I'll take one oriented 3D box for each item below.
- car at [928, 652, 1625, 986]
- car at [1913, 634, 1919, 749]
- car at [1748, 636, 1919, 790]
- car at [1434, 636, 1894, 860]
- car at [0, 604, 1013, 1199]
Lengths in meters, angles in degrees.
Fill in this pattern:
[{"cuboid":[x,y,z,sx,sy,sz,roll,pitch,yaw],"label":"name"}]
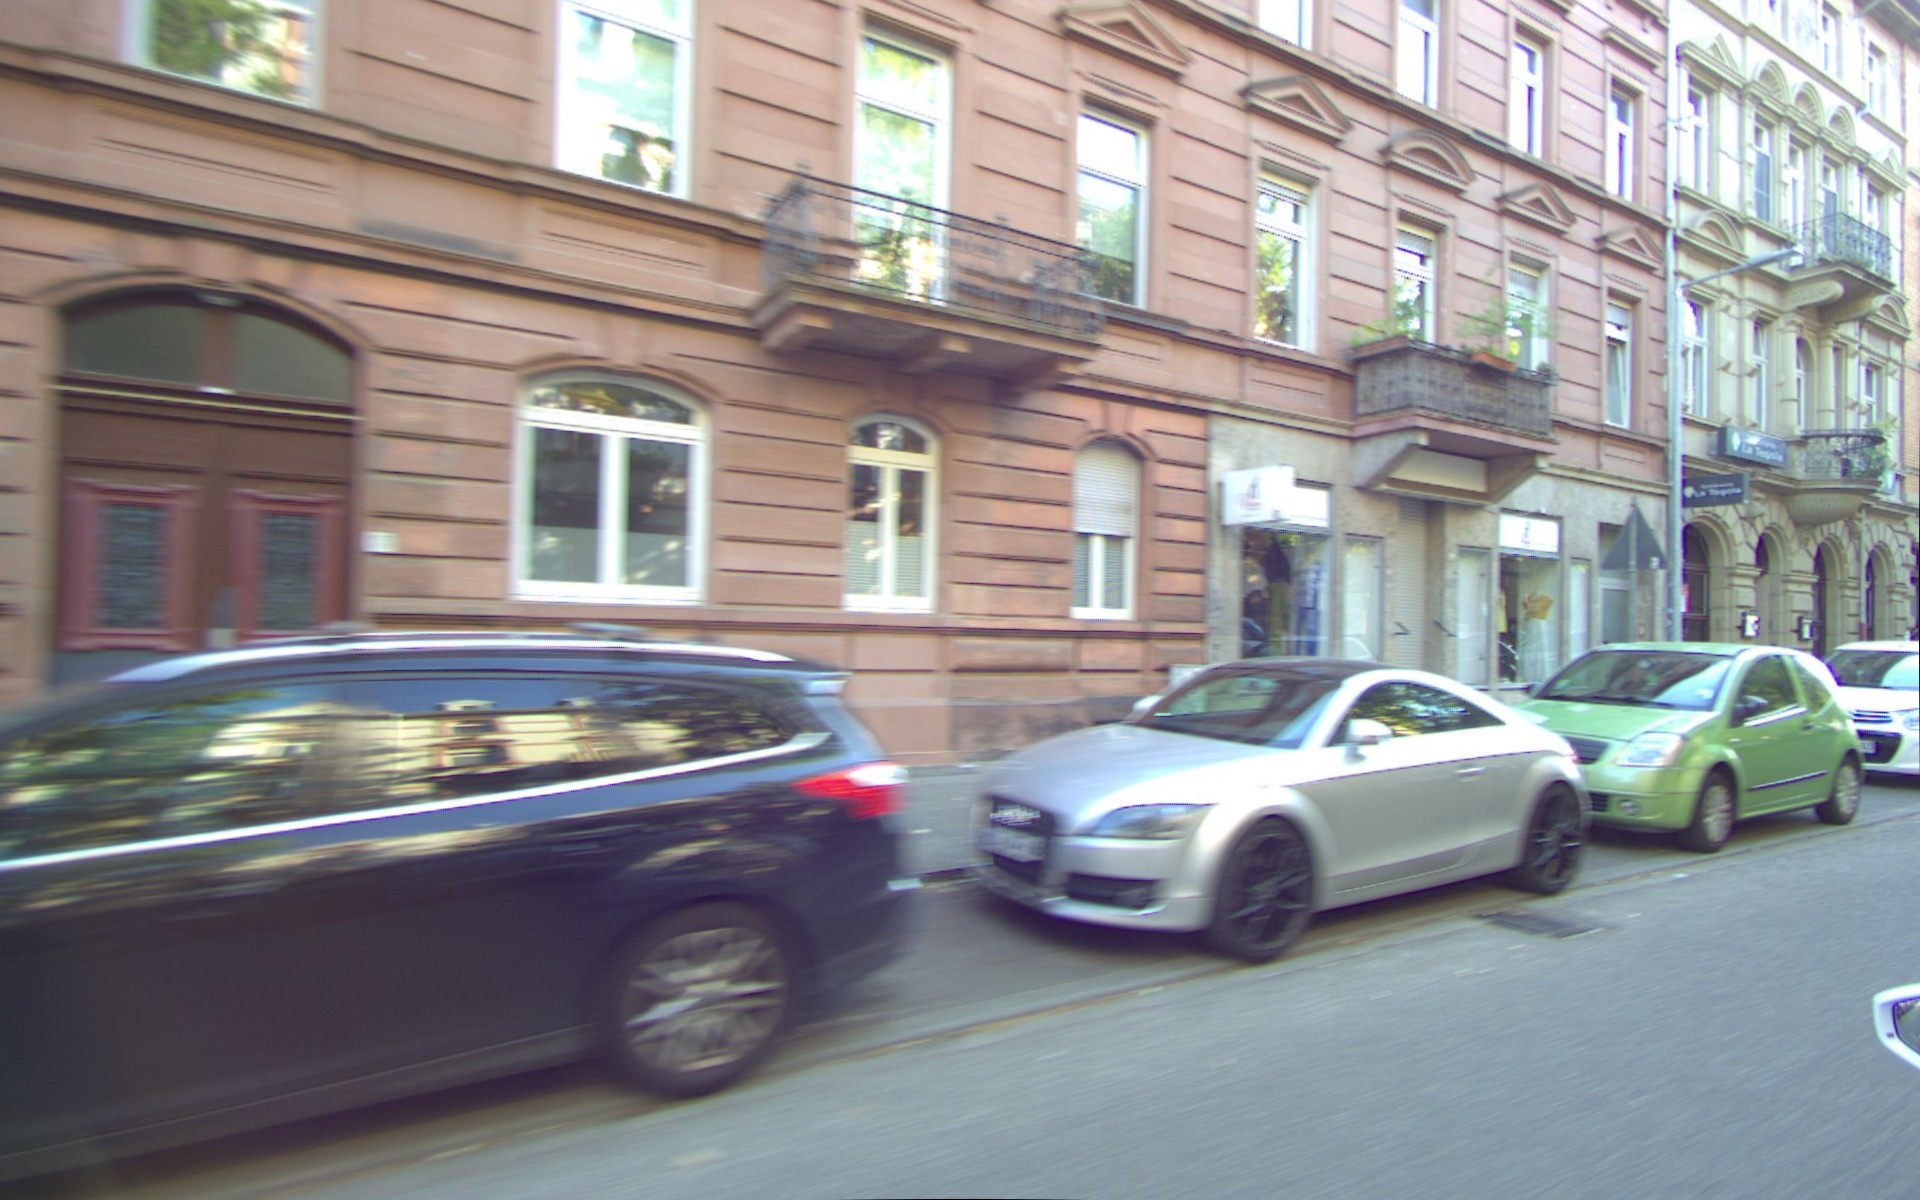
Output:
[{"cuboid":[1.989,1.004,5.974,4.053,1.340,1.697,2,-2,-30],"label":"car"},{"cuboid":[14.572,1.270,13.416,3.954,1.493,1.639,2,1,-31],"label":"car"},{"cuboid":[10.806,1.177,11.465,3.954,1.492,1.574,2,-2,-31],"label":"car"},{"cuboid":[5.935,1.054,8.387,3.913,1.458,1.697,2,-2,-30],"label":"car"},{"cuboid":[-2.138,0.801,3.490,4.372,1.497,1.812,2,0,-31],"label":"car"}]
